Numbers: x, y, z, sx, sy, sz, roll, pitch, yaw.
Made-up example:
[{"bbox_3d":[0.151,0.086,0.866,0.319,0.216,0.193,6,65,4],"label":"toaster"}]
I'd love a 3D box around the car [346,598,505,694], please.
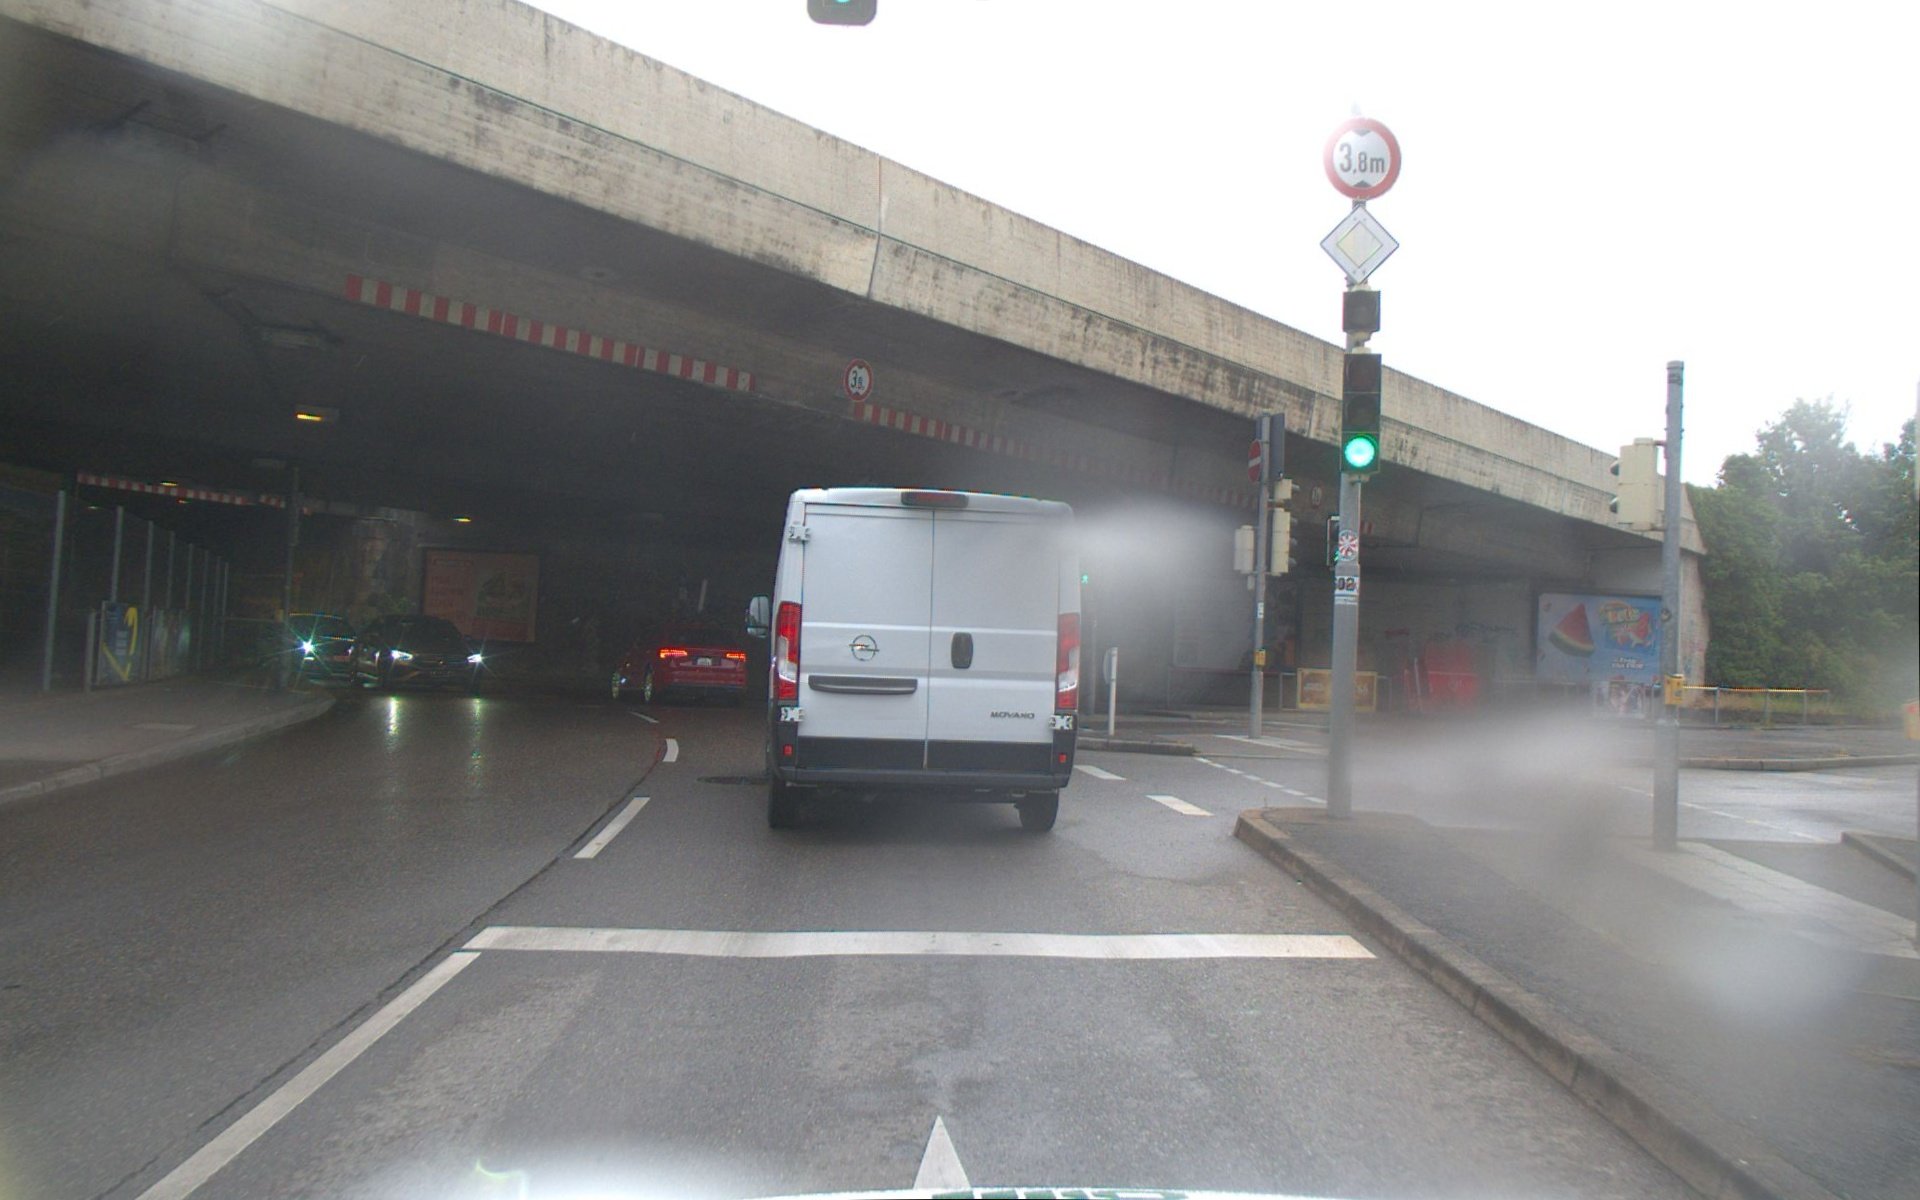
[{"bbox_3d":[-10.363,0.844,31.861,1.973,1.556,4.455,3,0,-30],"label":"car"}]

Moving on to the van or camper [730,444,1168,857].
[{"bbox_3d":[-0.376,0.335,12.708,2.648,2.459,4.894,3,0,-8],"label":"van or camper"}]

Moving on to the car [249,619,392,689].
[{"bbox_3d":[-14.725,1.219,37.989,1.979,1.490,4.050,3,-3,-37],"label":"car"}]

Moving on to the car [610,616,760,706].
[{"bbox_3d":[-5.064,1.084,30.002,1.810,1.464,4.075,3,-2,-22],"label":"car"}]
